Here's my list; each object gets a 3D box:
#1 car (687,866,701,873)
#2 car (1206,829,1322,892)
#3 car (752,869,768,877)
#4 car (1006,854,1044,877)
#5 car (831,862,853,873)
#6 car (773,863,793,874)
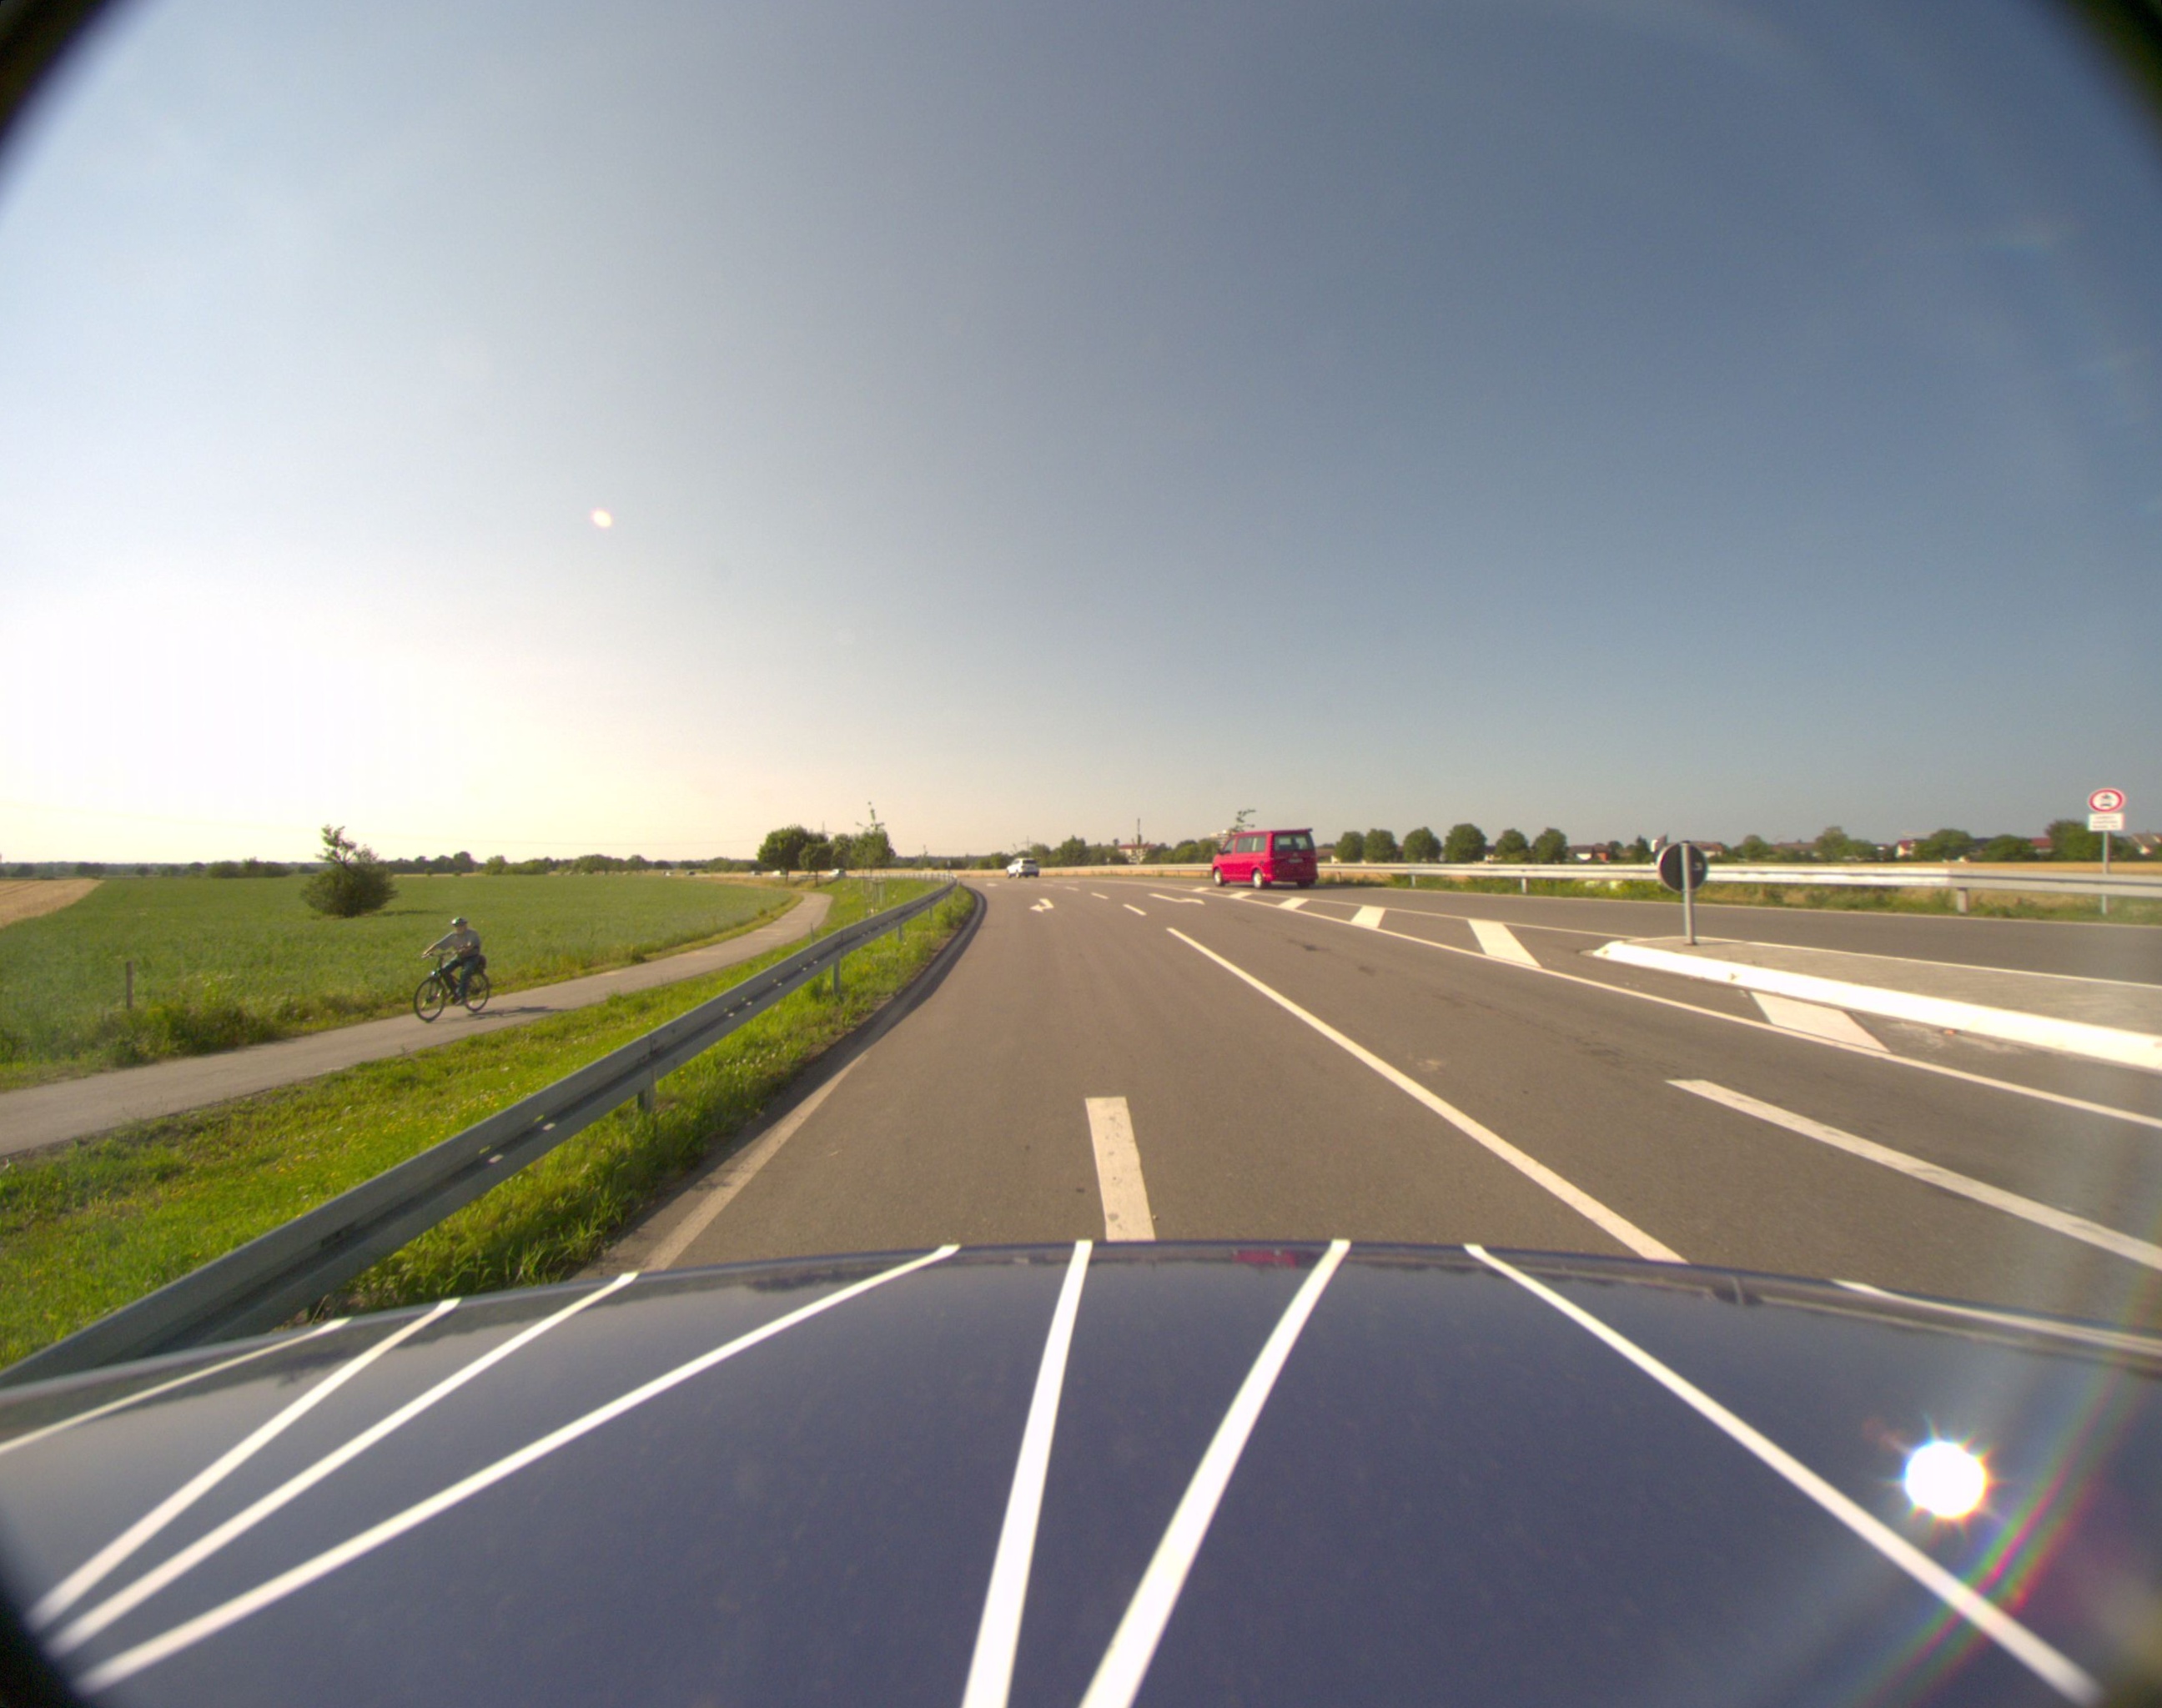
[{"bbox_3d":[-102.685,4.181,201.727,2.004,1.583,4.850,-2,-1,-43],"label":"car"},{"bbox_3d":[6.278,0.182,26.720,1.840,1.929,4.919,-3,1,-14],"label":"car"},{"bbox_3d":[-69.879,4.079,165.435,1.804,1.439,4.695,-2,-2,-39],"label":"car"},{"bbox_3d":[-4.837,0.941,64.950,1.699,1.664,4.851,-2,4,-23],"label":"car"},{"bbox_3d":[-41.167,2.372,130.757,2.125,1.484,5.141,-2,-2,-37],"label":"car"},{"bbox_3d":[-60.502,2.988,154.423,2.126,2.001,5.141,-2,-2,-41],"label":"car"}]
